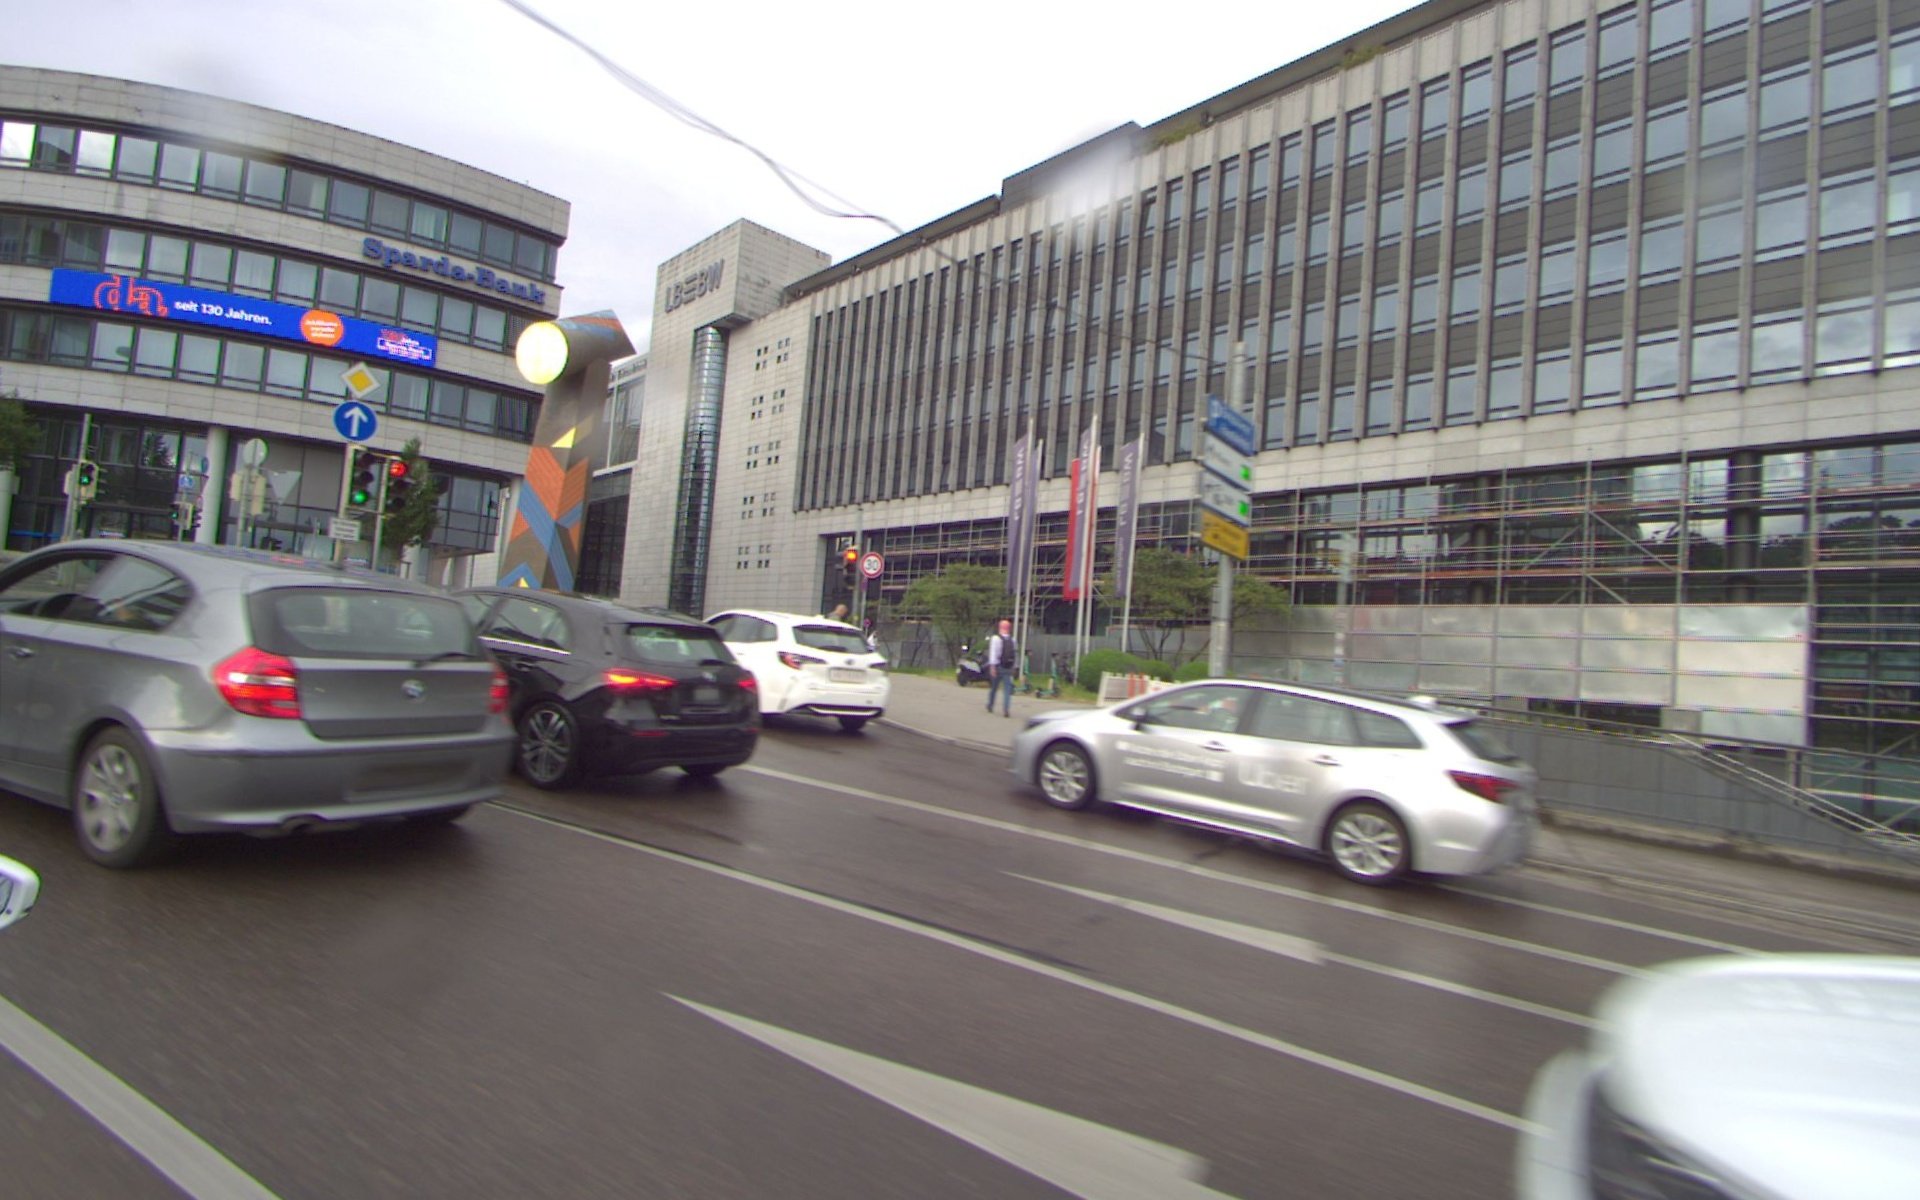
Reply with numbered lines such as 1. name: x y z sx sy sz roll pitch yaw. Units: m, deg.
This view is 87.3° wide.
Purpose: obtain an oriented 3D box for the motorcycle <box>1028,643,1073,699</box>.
1. motorcycle: 2.402 1.874 26.532 0.595 1.370 1.730 7 -1 21

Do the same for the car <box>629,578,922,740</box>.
1. car: -2.720 0.735 13.964 1.766 1.653 4.528 9 -3 -41

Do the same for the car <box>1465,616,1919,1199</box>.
1. car: 2.942 1.088 1.083 4.150 1.566 1.967 6 -2 33

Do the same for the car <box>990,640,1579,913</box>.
1. car: 2.668 1.352 8.877 4.547 1.467 1.702 4 -4 37

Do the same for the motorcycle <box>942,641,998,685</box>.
1. motorcycle: 0.314 1.754 28.361 0.623 1.095 2.570 7 1 21

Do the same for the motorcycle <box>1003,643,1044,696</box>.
1. motorcycle: 1.701 1.850 26.726 0.608 1.286 1.245 7 -1 21

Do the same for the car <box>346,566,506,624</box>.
1. car: -19.288 -0.149 36.498 1.841 1.457 4.700 3 -5 39

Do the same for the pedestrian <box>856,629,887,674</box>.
1. pedestrian: -3.829 2.216 43.520 0.957 1.838 0.777 6 -3 -21

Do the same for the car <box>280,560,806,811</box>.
1. car: -3.536 0.591 8.380 4.156 1.424 1.758 5 -2 29

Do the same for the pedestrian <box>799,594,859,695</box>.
1. pedestrian: -2.933 1.013 22.635 0.887 2.121 0.857 8 -3 5

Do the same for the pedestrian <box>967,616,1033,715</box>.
1. pedestrian: 0.753 1.235 18.814 0.828 1.730 0.732 6 -2 27

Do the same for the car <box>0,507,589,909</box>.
1. car: -4.252 0.375 5.568 3.929 1.459 1.746 6 -2 25
